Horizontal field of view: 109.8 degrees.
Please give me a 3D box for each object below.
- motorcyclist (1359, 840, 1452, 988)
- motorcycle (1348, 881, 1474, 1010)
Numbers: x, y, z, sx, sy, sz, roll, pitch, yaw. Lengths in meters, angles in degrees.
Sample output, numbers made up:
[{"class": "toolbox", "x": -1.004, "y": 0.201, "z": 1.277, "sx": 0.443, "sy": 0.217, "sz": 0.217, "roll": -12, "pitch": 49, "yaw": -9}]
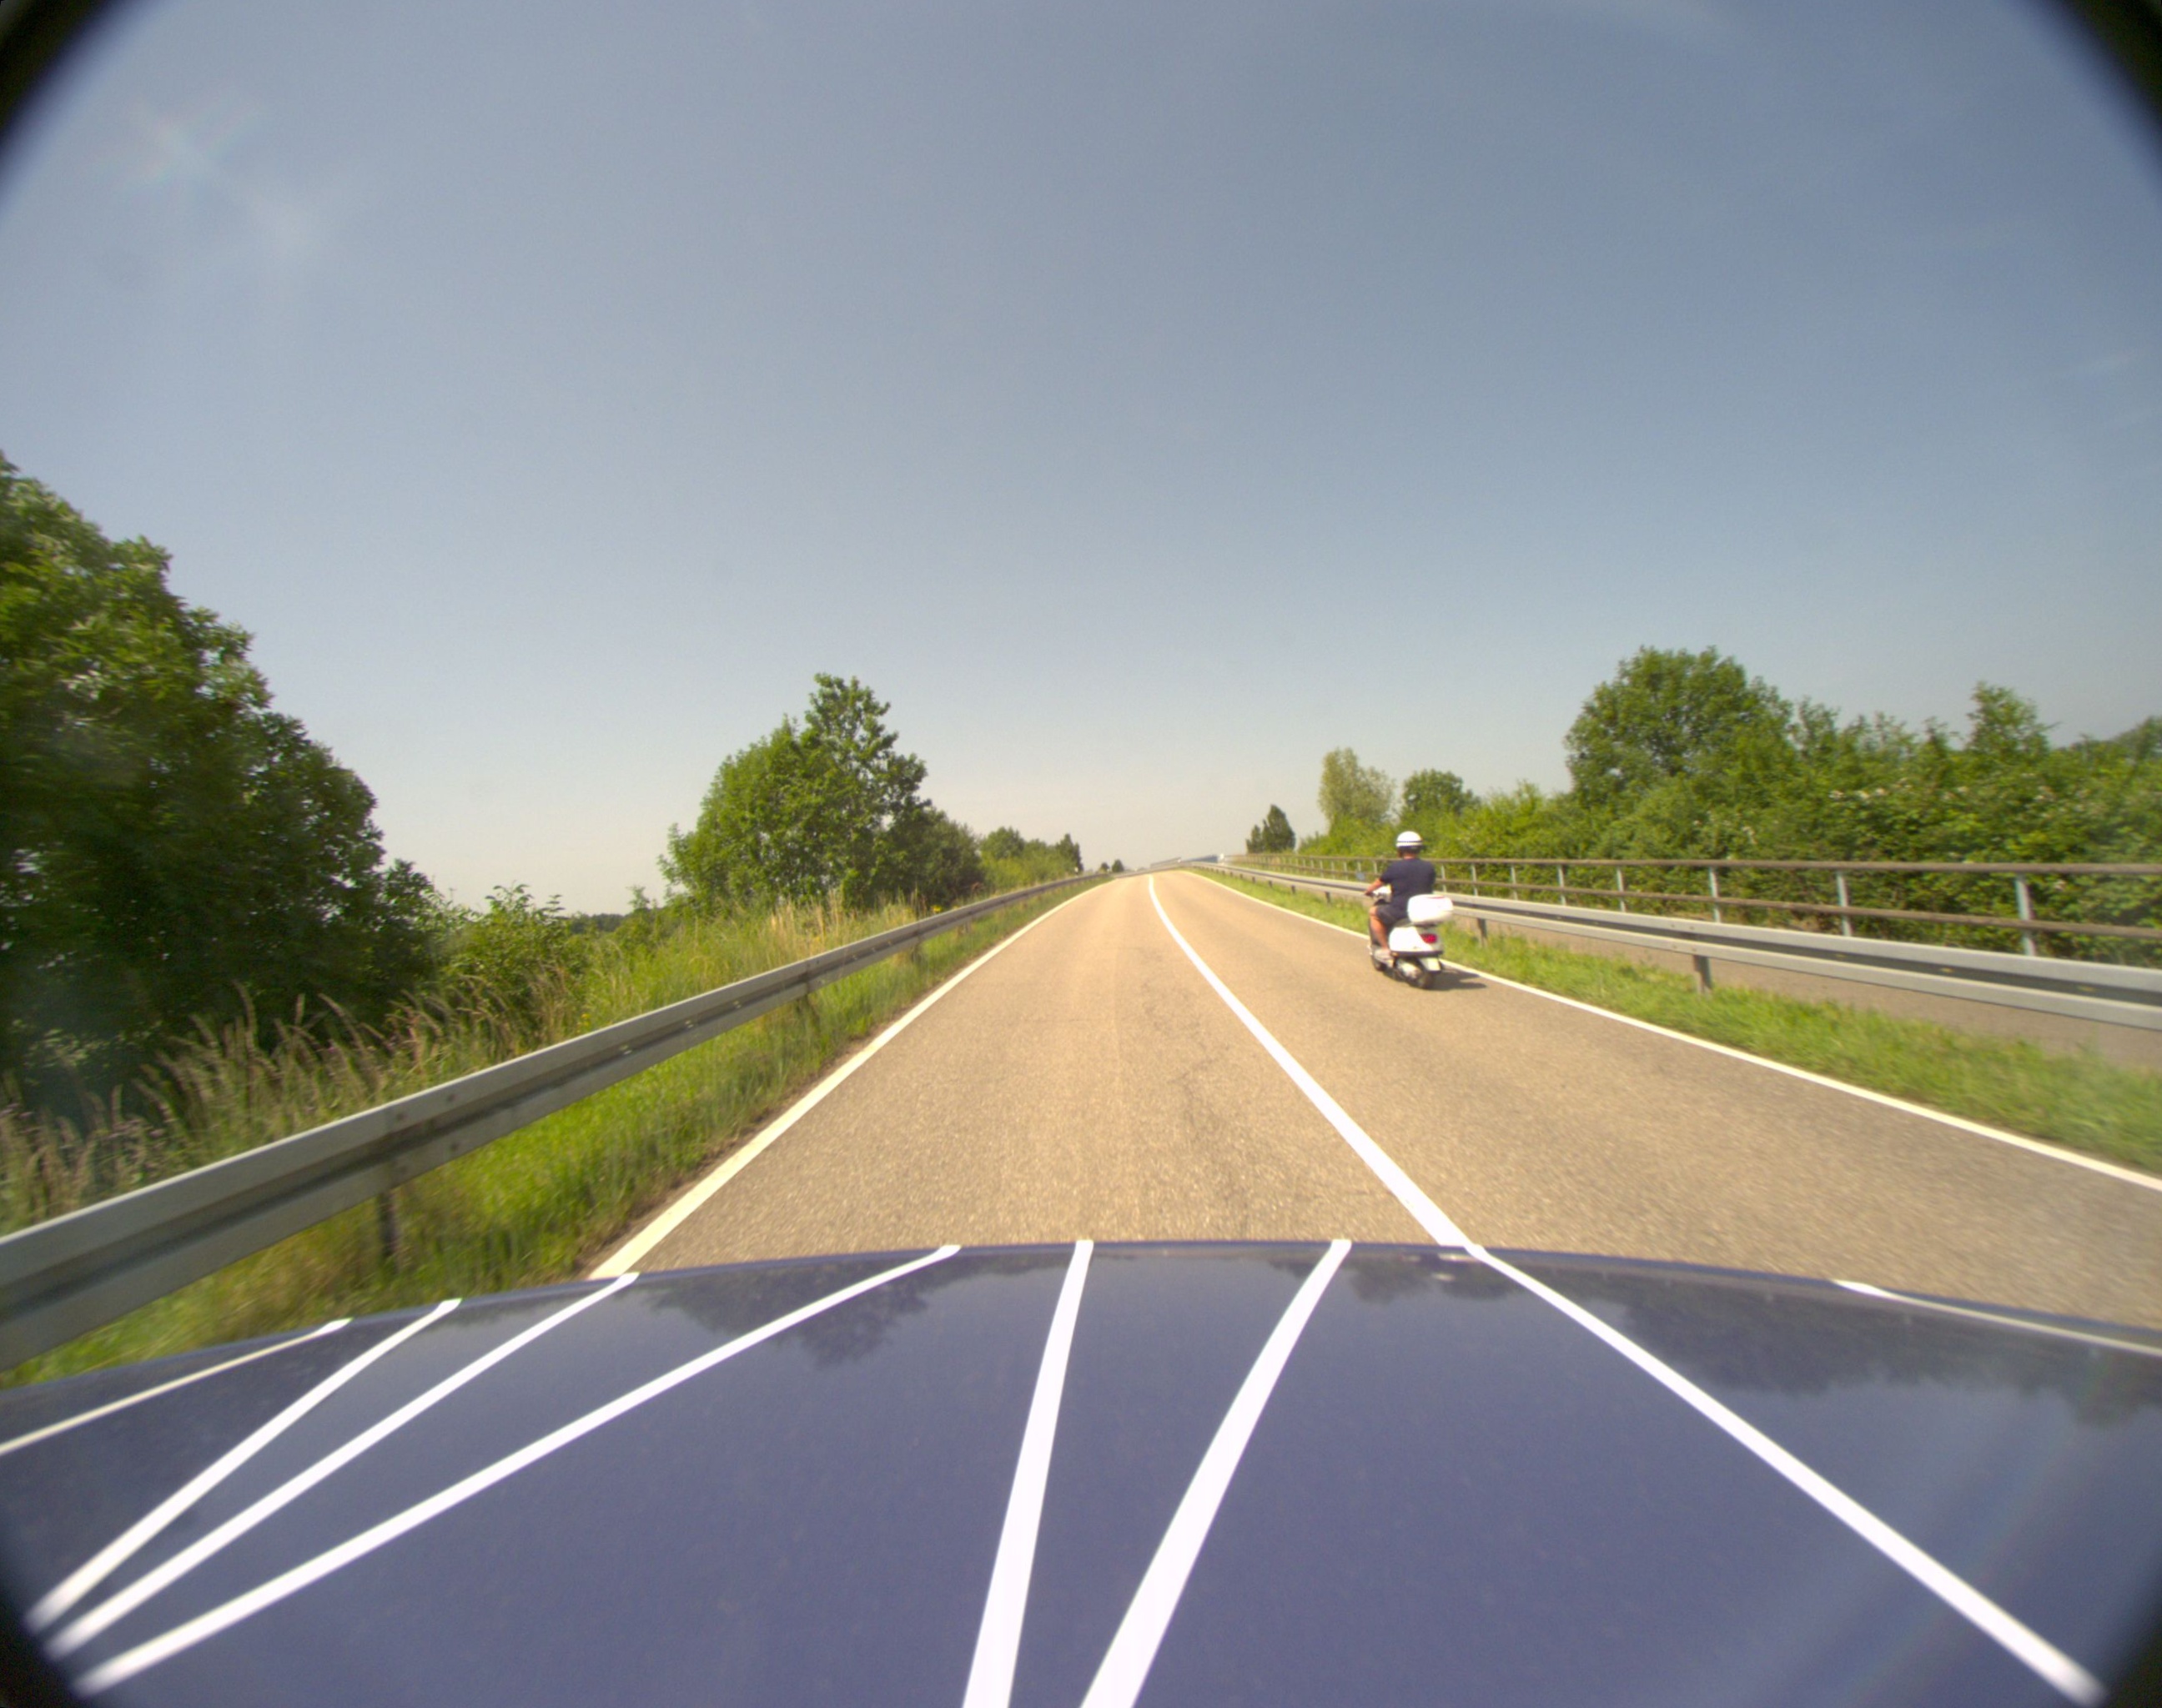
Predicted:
[{"class": "motorcyclist", "x": 3.575, "y": 0.636, "z": 8.423, "sx": 0.656, "sy": 1.553, "sz": 0.775, "roll": -2, "pitch": 0, "yaw": -1}, {"class": "motorcycle", "x": 3.590, "y": 0.947, "z": 8.424, "sx": 0.644, "sy": 1.216, "sz": 1.638, "roll": -2, "pitch": 0, "yaw": -1}]
